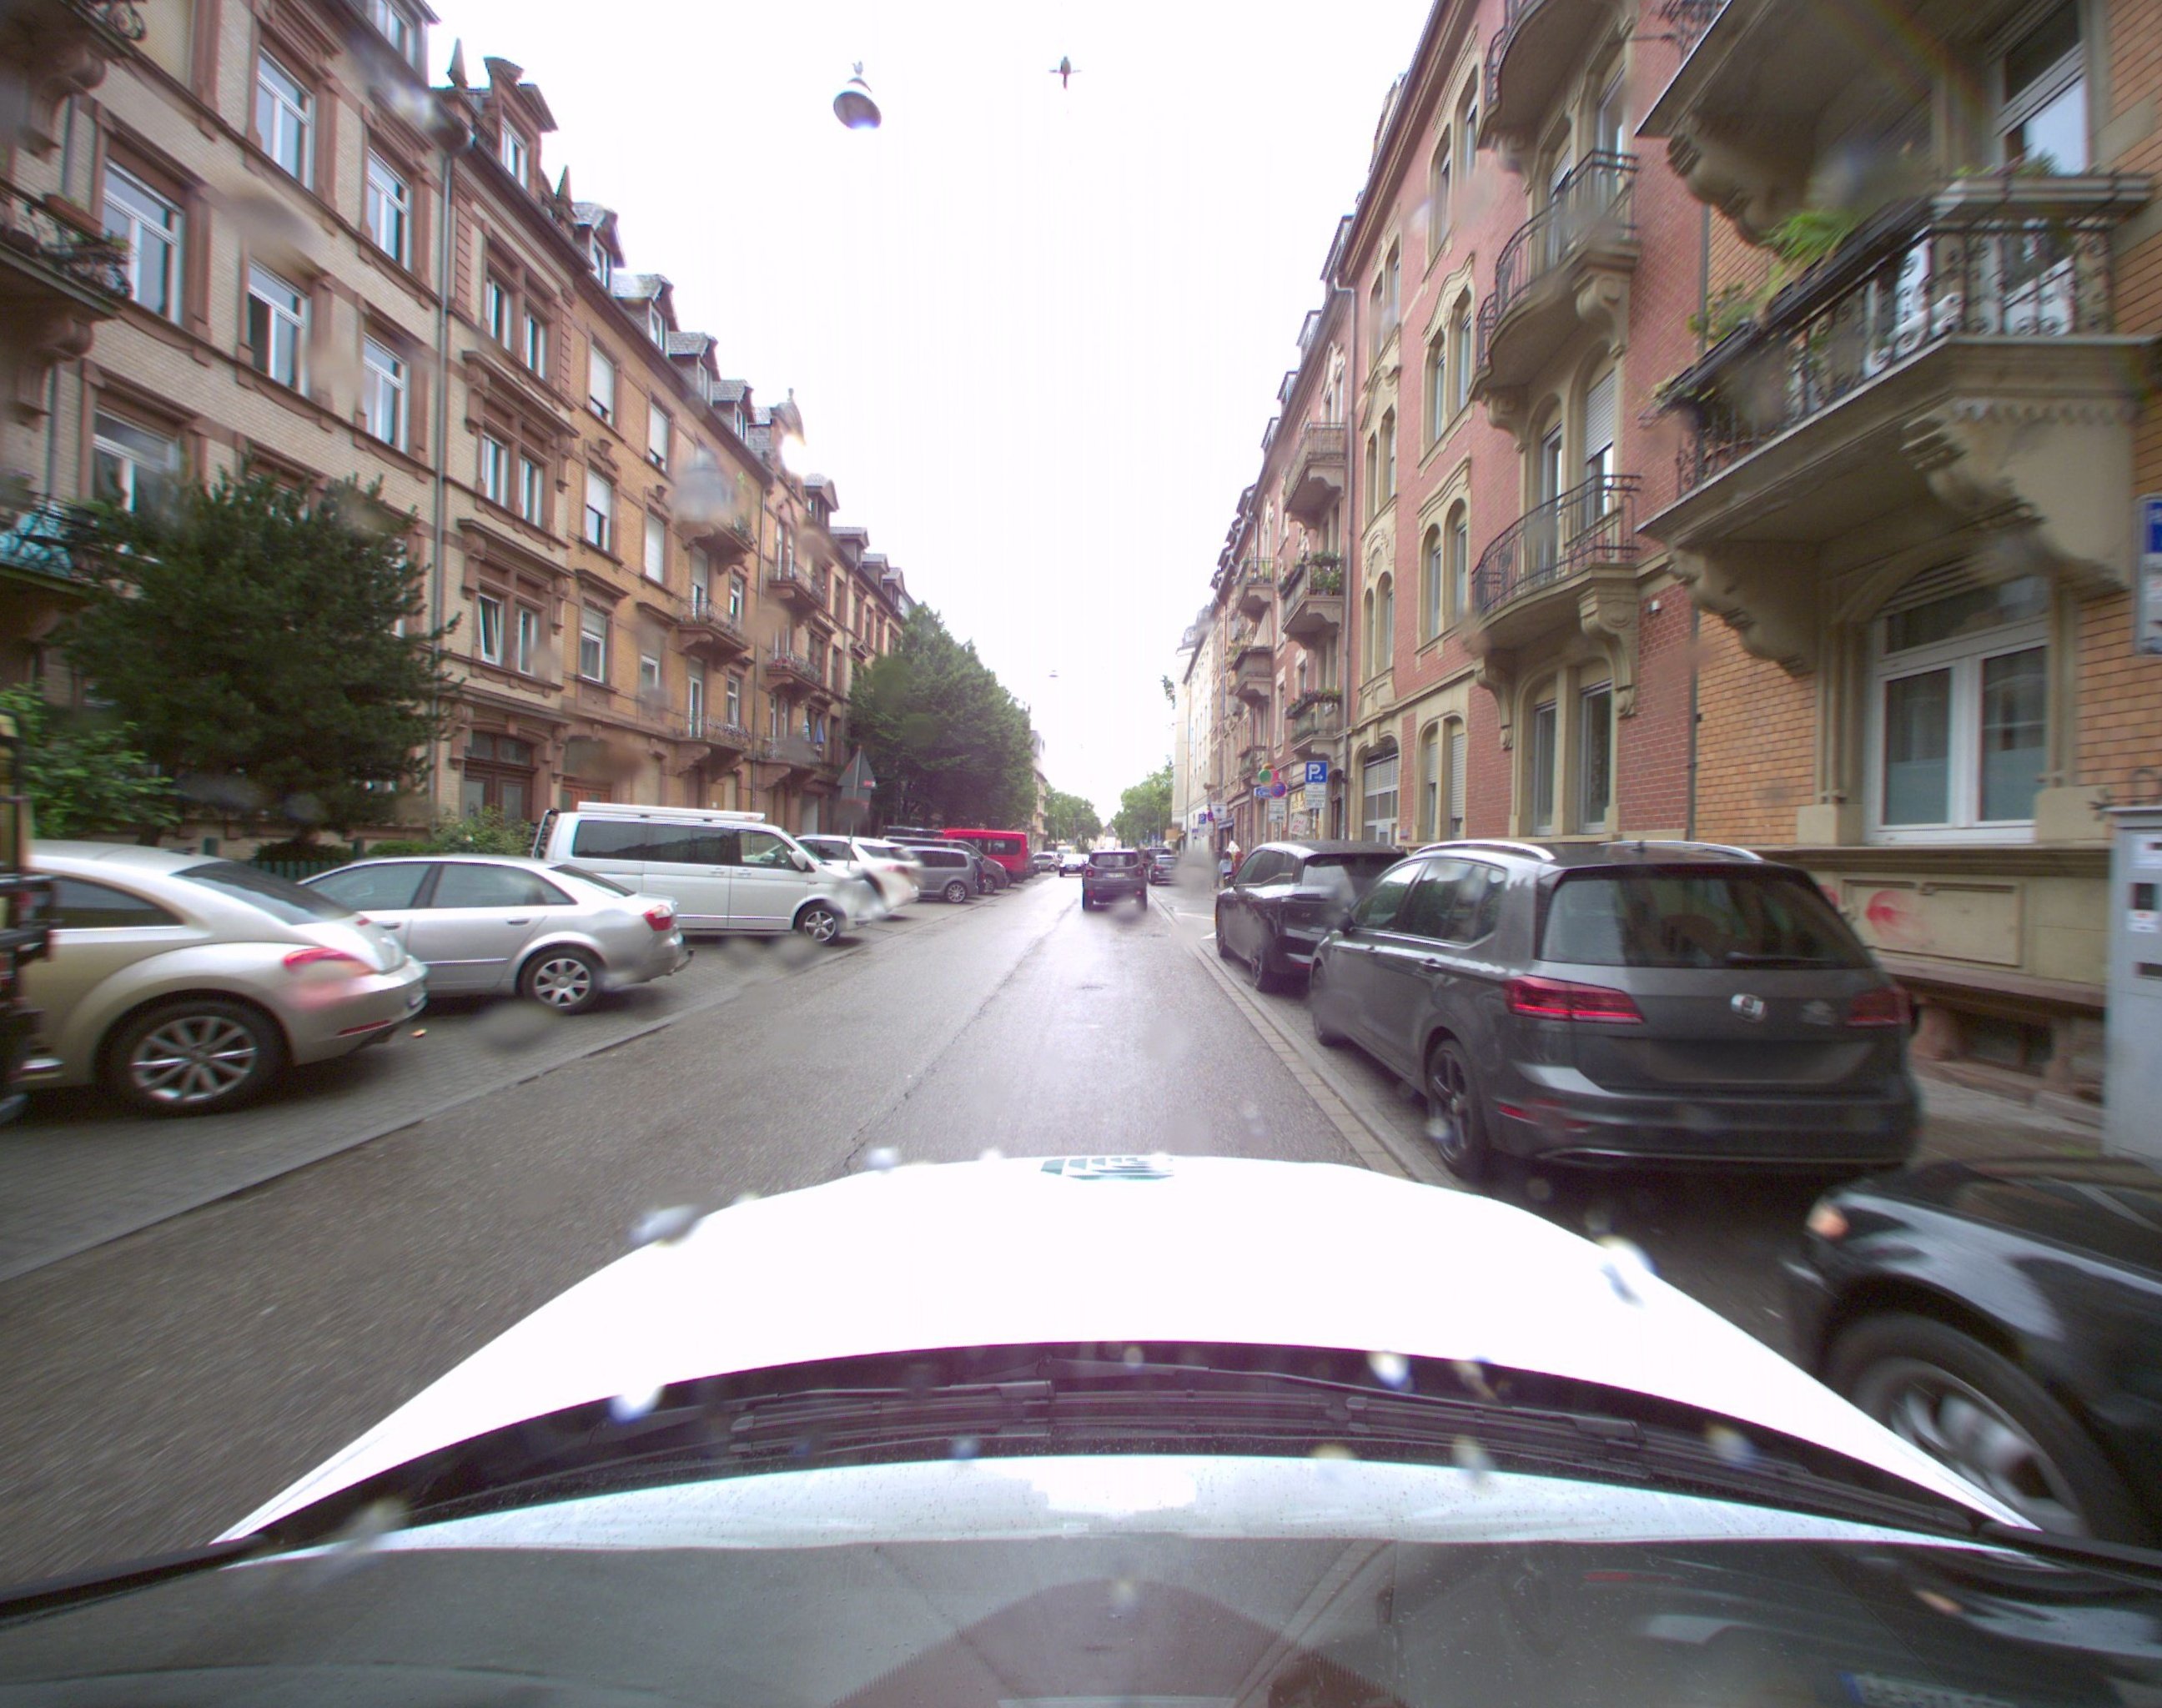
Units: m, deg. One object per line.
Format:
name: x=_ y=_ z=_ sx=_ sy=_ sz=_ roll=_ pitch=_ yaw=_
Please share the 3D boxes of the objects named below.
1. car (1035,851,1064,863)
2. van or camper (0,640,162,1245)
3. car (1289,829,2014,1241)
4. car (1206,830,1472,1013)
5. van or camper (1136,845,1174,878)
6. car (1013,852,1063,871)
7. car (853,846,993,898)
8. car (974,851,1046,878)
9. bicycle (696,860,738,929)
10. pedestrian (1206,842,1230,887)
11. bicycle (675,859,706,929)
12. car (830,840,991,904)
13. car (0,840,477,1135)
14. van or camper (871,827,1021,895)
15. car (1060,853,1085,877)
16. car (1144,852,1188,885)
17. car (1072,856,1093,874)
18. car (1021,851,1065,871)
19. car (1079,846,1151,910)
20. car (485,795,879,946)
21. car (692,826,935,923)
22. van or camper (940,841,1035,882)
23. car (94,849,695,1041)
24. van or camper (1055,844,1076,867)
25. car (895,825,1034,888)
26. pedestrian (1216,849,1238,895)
car: x=-4.594 y=0.429 z=118.757 sx=3.679 sy=1.558 sz=1.781 roll=3 pitch=-1 yaw=-34
van or camper: x=-6.041 y=0.246 z=1.820 sx=4.741 sy=2.268 sz=2.164 roll=3 pitch=0 yaw=-31
car: x=2.727 y=0.688 z=5.299 sx=1.864 sy=1.561 sz=4.348 roll=0 pitch=0 yaw=3
car: x=2.909 y=0.671 z=10.427 sx=1.986 sy=1.779 sz=4.827 roll=0 pitch=0 yaw=1
van or camper: x=4.496 y=0.439 z=49.963 sx=2.014 sy=1.891 sz=5.057 roll=0 pitch=0 yaw=2
car: x=-3.503 y=0.603 z=66.254 sx=3.728 sy=1.452 sz=1.668 roll=0 pitch=0 yaw=-33
car: x=-5.293 y=0.615 z=27.267 sx=4.357 sy=1.504 sz=1.743 roll=3 pitch=0 yaw=-21
car: x=-4.269 y=0.642 z=49.458 sx=3.997 sy=1.447 sz=1.748 roll=3 pitch=0 yaw=-38
bicycle: x=-6.850 y=0.719 z=15.284 sx=0.545 sy=1.175 sz=2.026 roll=2 pitch=0 yaw=-28
pedestrian: x=6.109 y=0.464 z=36.250 sx=0.672 sy=1.935 sz=0.815 roll=-1 pitch=-8 yaw=37
bicycle: x=-7.274 y=0.706 z=15.130 sx=0.408 sy=1.175 sz=2.026 roll=2 pitch=0 yaw=-28
car: x=-5.193 y=0.548 z=24.810 sx=4.451 sy=1.630 sz=1.830 roll=4 pitch=0 yaw=-24
car: x=-6.238 y=0.676 z=4.874 sx=3.929 sy=1.495 sz=1.945 roll=2 pitch=0 yaw=-29
van or camper: x=-5.018 y=0.288 z=30.235 sx=5.032 sy=2.349 sz=2.326 roll=1 pitch=0 yaw=-24
car: x=-0.568 y=0.760 z=55.934 sx=1.664 sy=1.559 sz=4.003 roll=1 pitch=0 yaw=0
car: x=4.181 y=0.700 z=40.522 sx=1.834 sy=1.545 sz=4.004 roll=0 pitch=0 yaw=1
car: x=0.155 y=0.939 z=70.845 sx=1.663 sy=1.465 sz=4.004 roll=0 pitch=0 yaw=1
car: x=-3.242 y=0.552 z=69.130 sx=3.397 sy=1.654 sz=1.618 roll=0 pitch=0 yaw=-31
car: x=0.960 y=0.632 z=23.767 sx=1.892 sy=1.671 sz=4.506 roll=0 pitch=0 yaw=1
car: x=-6.092 y=0.303 z=13.096 sx=5.257 sy=2.078 sz=1.856 roll=2 pitch=-1 yaw=-23
car: x=-5.919 y=0.428 z=18.600 sx=4.562 sy=1.785 sz=2.546 roll=3 pitch=0 yaw=1
van or camper: x=-4.756 y=0.397 z=41.749 sx=4.462 sy=1.975 sz=1.764 roll=2 pitch=0 yaw=-31
car: x=-5.927 y=0.718 z=7.767 sx=4.008 sy=1.436 sz=1.769 roll=2 pitch=0 yaw=-27
van or camper: x=-1.909 y=0.267 z=102.911 sx=2.113 sy=2.531 sz=6.877 roll=-3 pitch=-2 yaw=2
car: x=-5.057 y=0.144 z=35.520 sx=5.583 sy=2.541 sz=2.211 roll=1 pitch=0 yaw=-26
pedestrian: x=5.267 y=0.635 z=29.368 sx=0.676 sy=1.613 sz=0.810 roll=0 pitch=0 yaw=2
